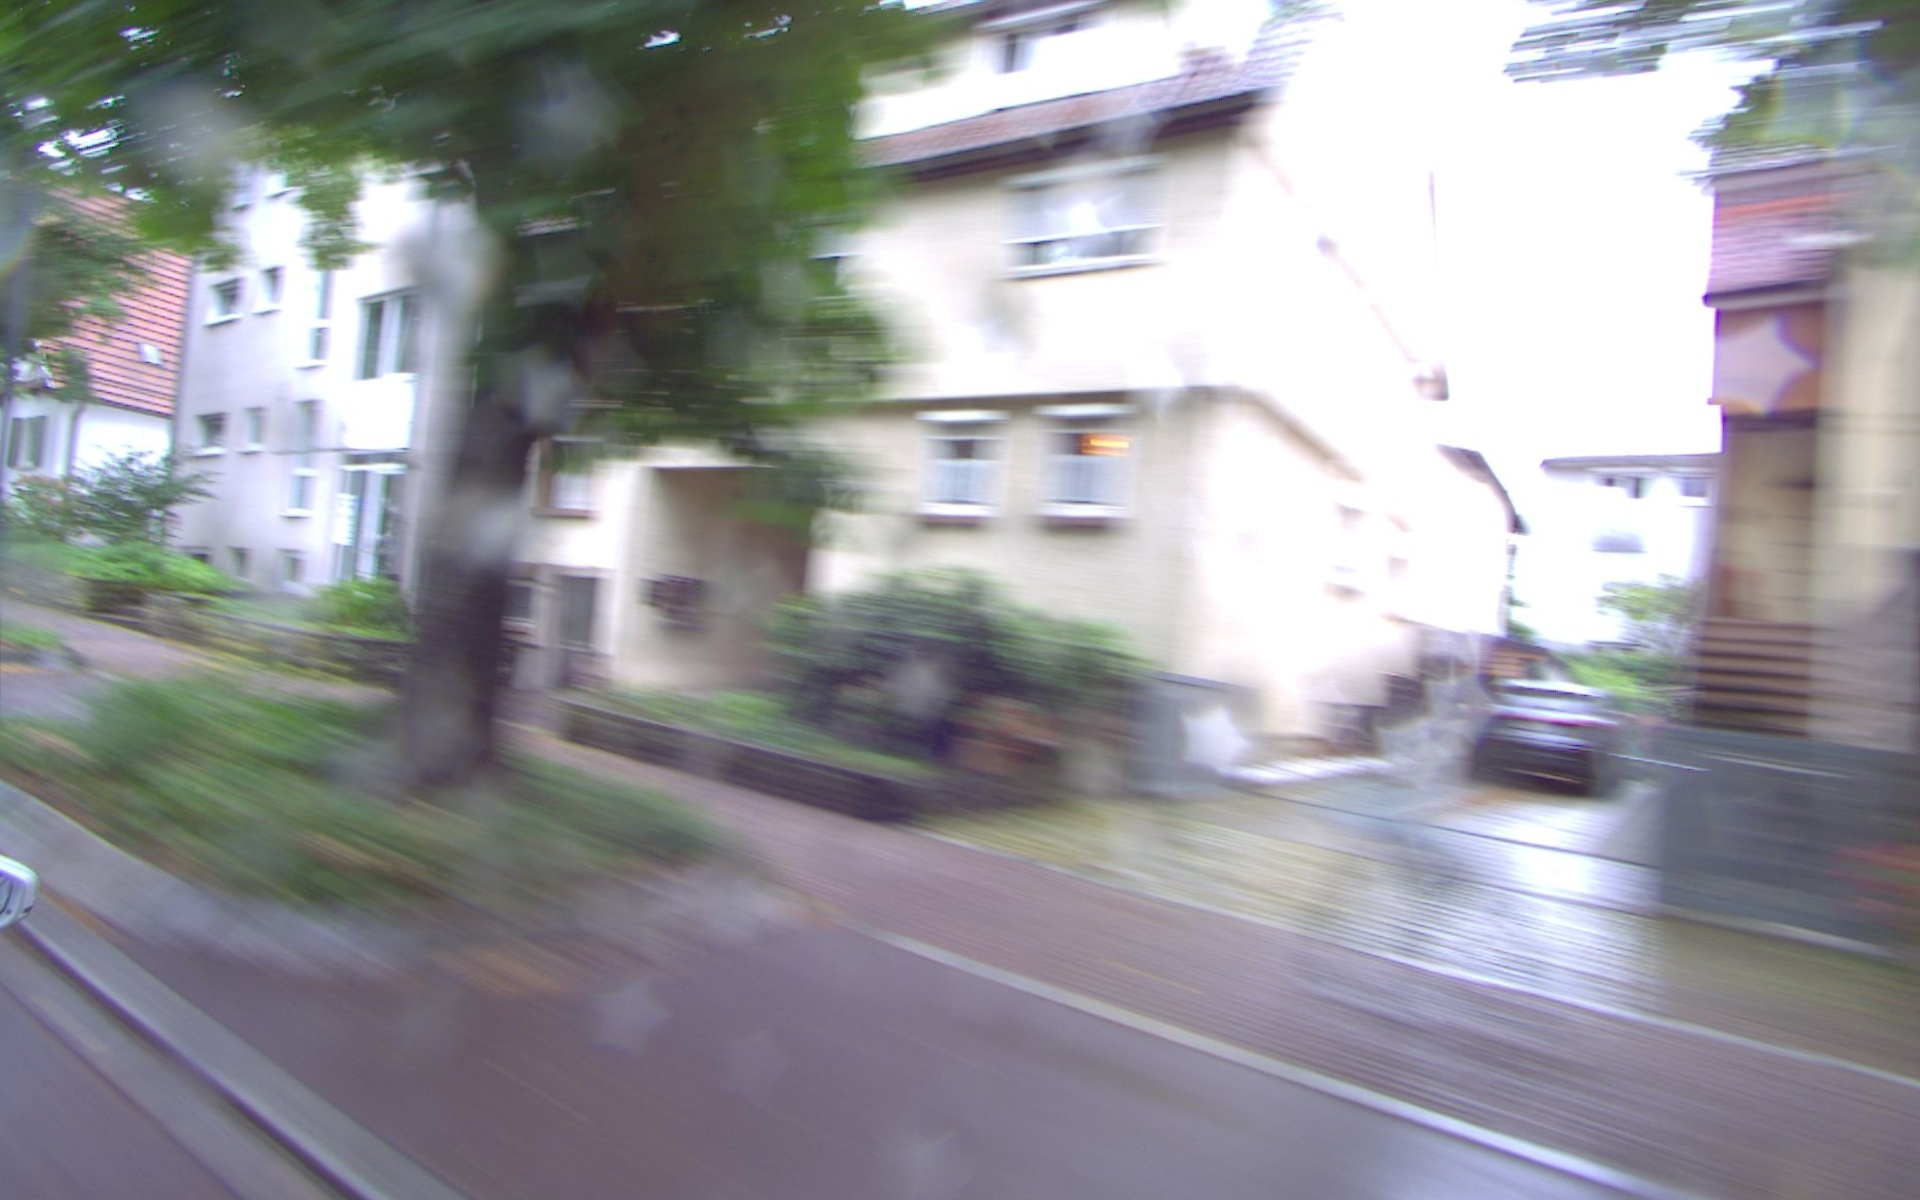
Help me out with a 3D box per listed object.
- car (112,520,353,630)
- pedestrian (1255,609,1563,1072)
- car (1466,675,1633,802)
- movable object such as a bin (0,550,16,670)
[{"bbox_3d":[-18.773,-0.582,26.218,1.966,1.918,4.479,6,-6,30],"label":"car"},{"bbox_3d":[1.946,0.940,4.341,0.784,1.672,0.952,6,-1,45],"label":"pedestrian"},{"bbox_3d":[9.616,2.175,16.272,1.845,1.628,3.807,3,-3,37],"label":"car"},{"bbox_3d":[-6.590,0.174,6.348,0.531,1.095,0.690,6,-2,27],"label":"movable object such as a bin"}]
